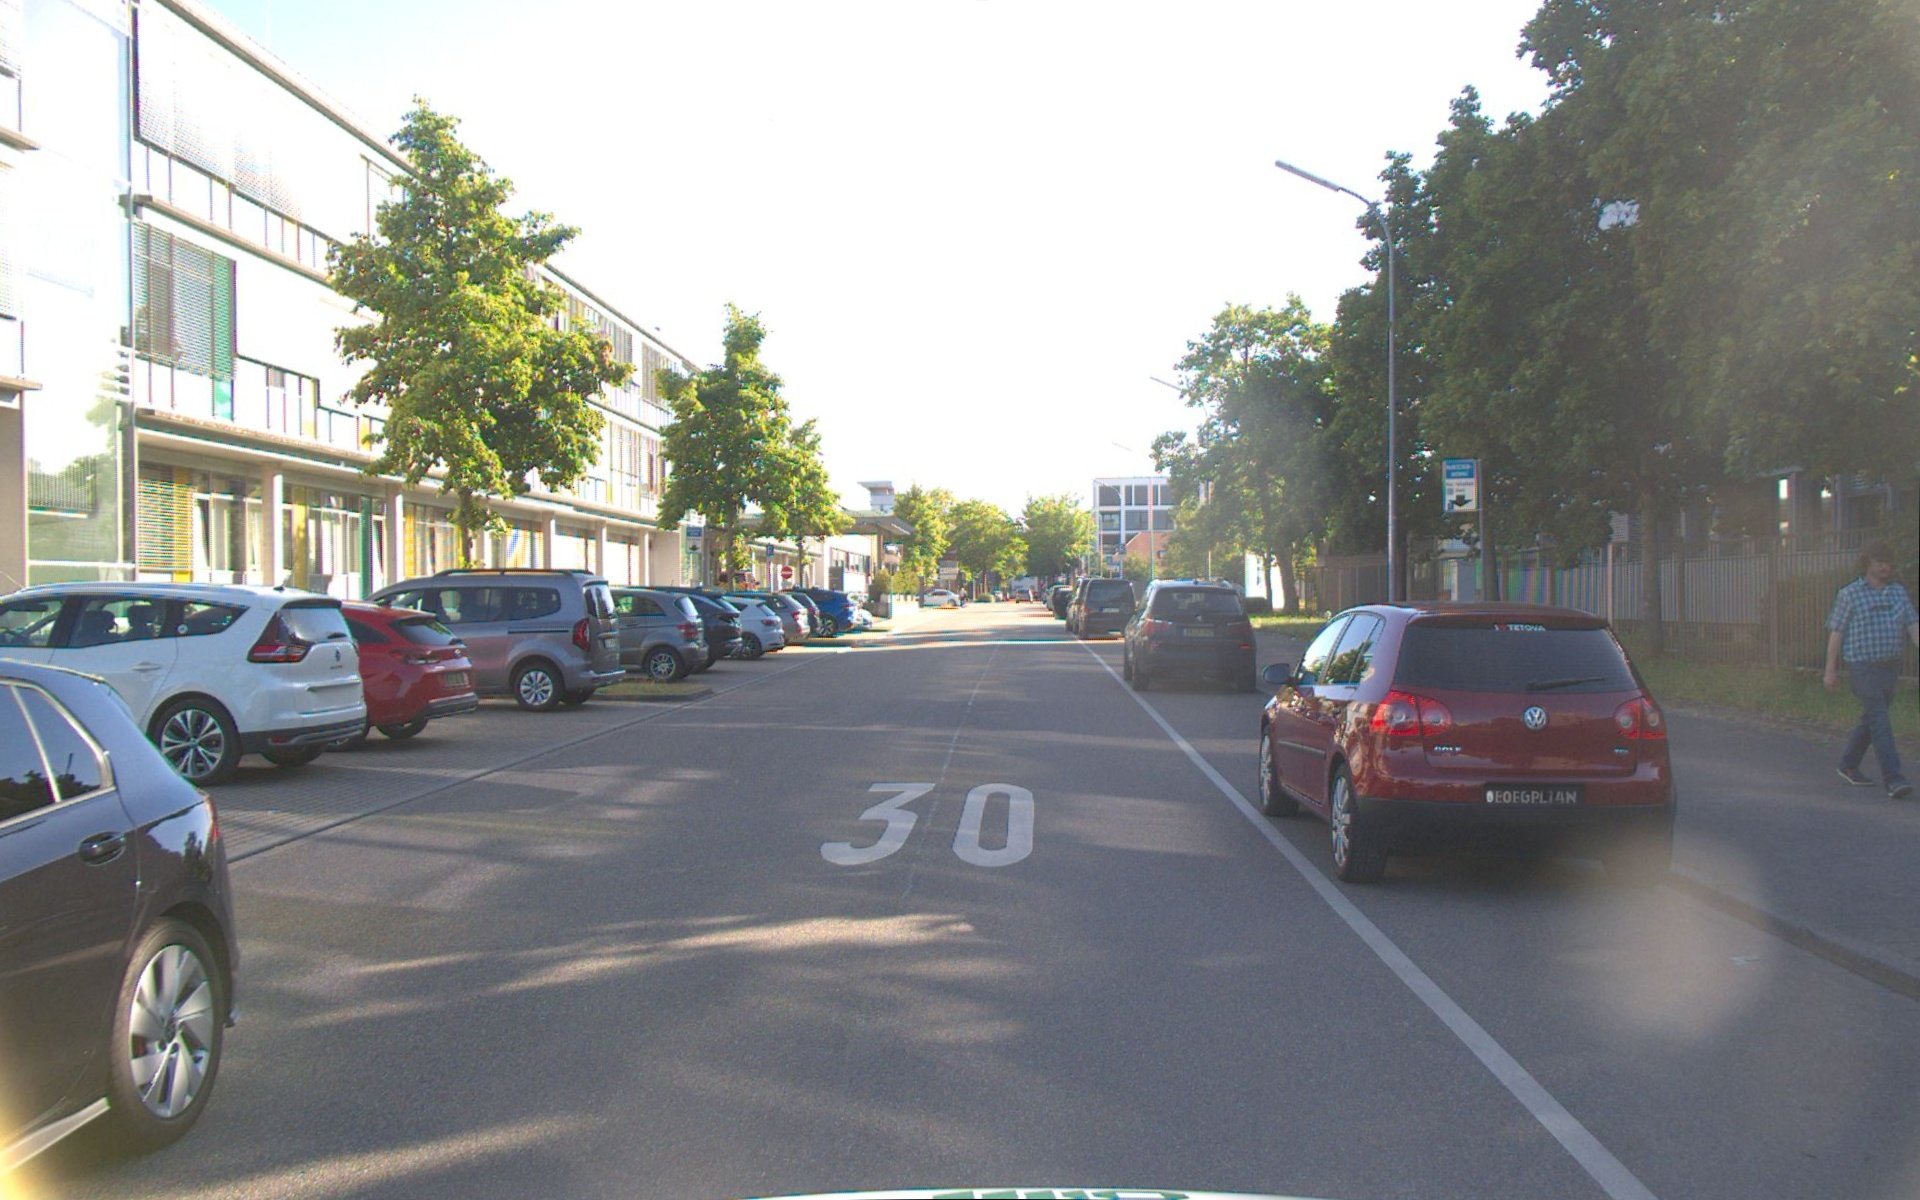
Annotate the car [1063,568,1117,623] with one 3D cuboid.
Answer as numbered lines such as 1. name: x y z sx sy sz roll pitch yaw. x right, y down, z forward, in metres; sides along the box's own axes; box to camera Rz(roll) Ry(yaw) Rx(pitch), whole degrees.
1. car: 4.979 -0.185 63.778 1.836 2.013 4.001 -2 0 2

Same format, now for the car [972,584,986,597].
1. car: 2.414 -1.239 205.465 1.691 1.563 4.001 -1 0 1

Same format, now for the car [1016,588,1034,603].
1. car: 6.811 -0.474 173.177 1.707 1.570 4.003 0 0 5

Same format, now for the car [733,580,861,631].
1. car: -5.437 0.174 55.598 4.128 1.631 1.871 1 0 -2

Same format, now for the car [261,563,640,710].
1. car: -6.948 0.463 22.859 4.643 1.897 1.828 1 1 3

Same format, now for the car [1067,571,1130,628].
1. car: 4.780 -0.033 57.532 1.952 1.854 4.200 -2 0 2

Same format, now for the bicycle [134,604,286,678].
1. bicycle: -12.612 0.668 27.900 0.851 1.174 2.372 1 0 23

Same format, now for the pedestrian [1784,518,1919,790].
1. pedestrian: 6.306 0.350 11.448 0.703 1.788 0.885 -3 0 3

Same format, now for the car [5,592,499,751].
1. car: -7.247 0.708 17.218 4.341 1.527 1.828 -1 0 3

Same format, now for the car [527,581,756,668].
1. car: -6.242 0.468 32.792 4.160 1.640 2.048 1 0 -2

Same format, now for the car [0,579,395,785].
1. car: -7.574 0.688 14.594 4.514 1.680 1.869 -1 0 6

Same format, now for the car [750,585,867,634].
1. car: -5.284 0.306 58.030 3.905 1.579 2.000 -2 0 -1

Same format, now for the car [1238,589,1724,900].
1. car: 2.902 0.682 10.313 1.684 1.480 4.653 0 0 2

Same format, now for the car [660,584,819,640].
1. car: -6.030 0.310 45.611 4.128 1.487 1.871 1 0 -2

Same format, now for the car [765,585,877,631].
1. car: -5.049 0.265 60.533 3.905 1.579 2.000 -1 1 -1

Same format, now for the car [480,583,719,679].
1. car: -6.431 0.533 29.842 3.906 1.635 1.871 1 0 -2

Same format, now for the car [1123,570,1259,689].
1. car: 3.579 0.390 26.343 1.774 1.695 4.595 0 1 3

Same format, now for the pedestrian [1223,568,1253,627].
1. pedestrian: 8.244 -0.073 49.081 0.684 1.690 0.752 -3 0 2

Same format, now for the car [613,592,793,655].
1. car: -5.902 0.529 38.268 3.906 1.382 1.743 1 0 -2

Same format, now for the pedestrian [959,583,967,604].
1. pedestrian: 0.258 -0.544 134.938 0.606 1.652 0.716 -2 0 2

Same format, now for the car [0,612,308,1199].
1. car: -3.028 0.825 3.315 1.668 1.476 4.087 -2 0 2

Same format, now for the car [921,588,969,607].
1. car: -1.261 -0.201 139.132 3.904 1.546 2.001 -1 -1 2

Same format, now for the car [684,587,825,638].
1. car: -6.291 0.370 51.037 4.128 1.512 1.871 1 0 -2

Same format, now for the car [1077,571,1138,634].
1. car: 4.539 0.057 51.294 1.697 1.862 3.907 -1 0 3

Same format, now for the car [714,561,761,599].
1. car: -12.705 -1.132 94.677 1.952 2.049 4.001 -1 -1 2
